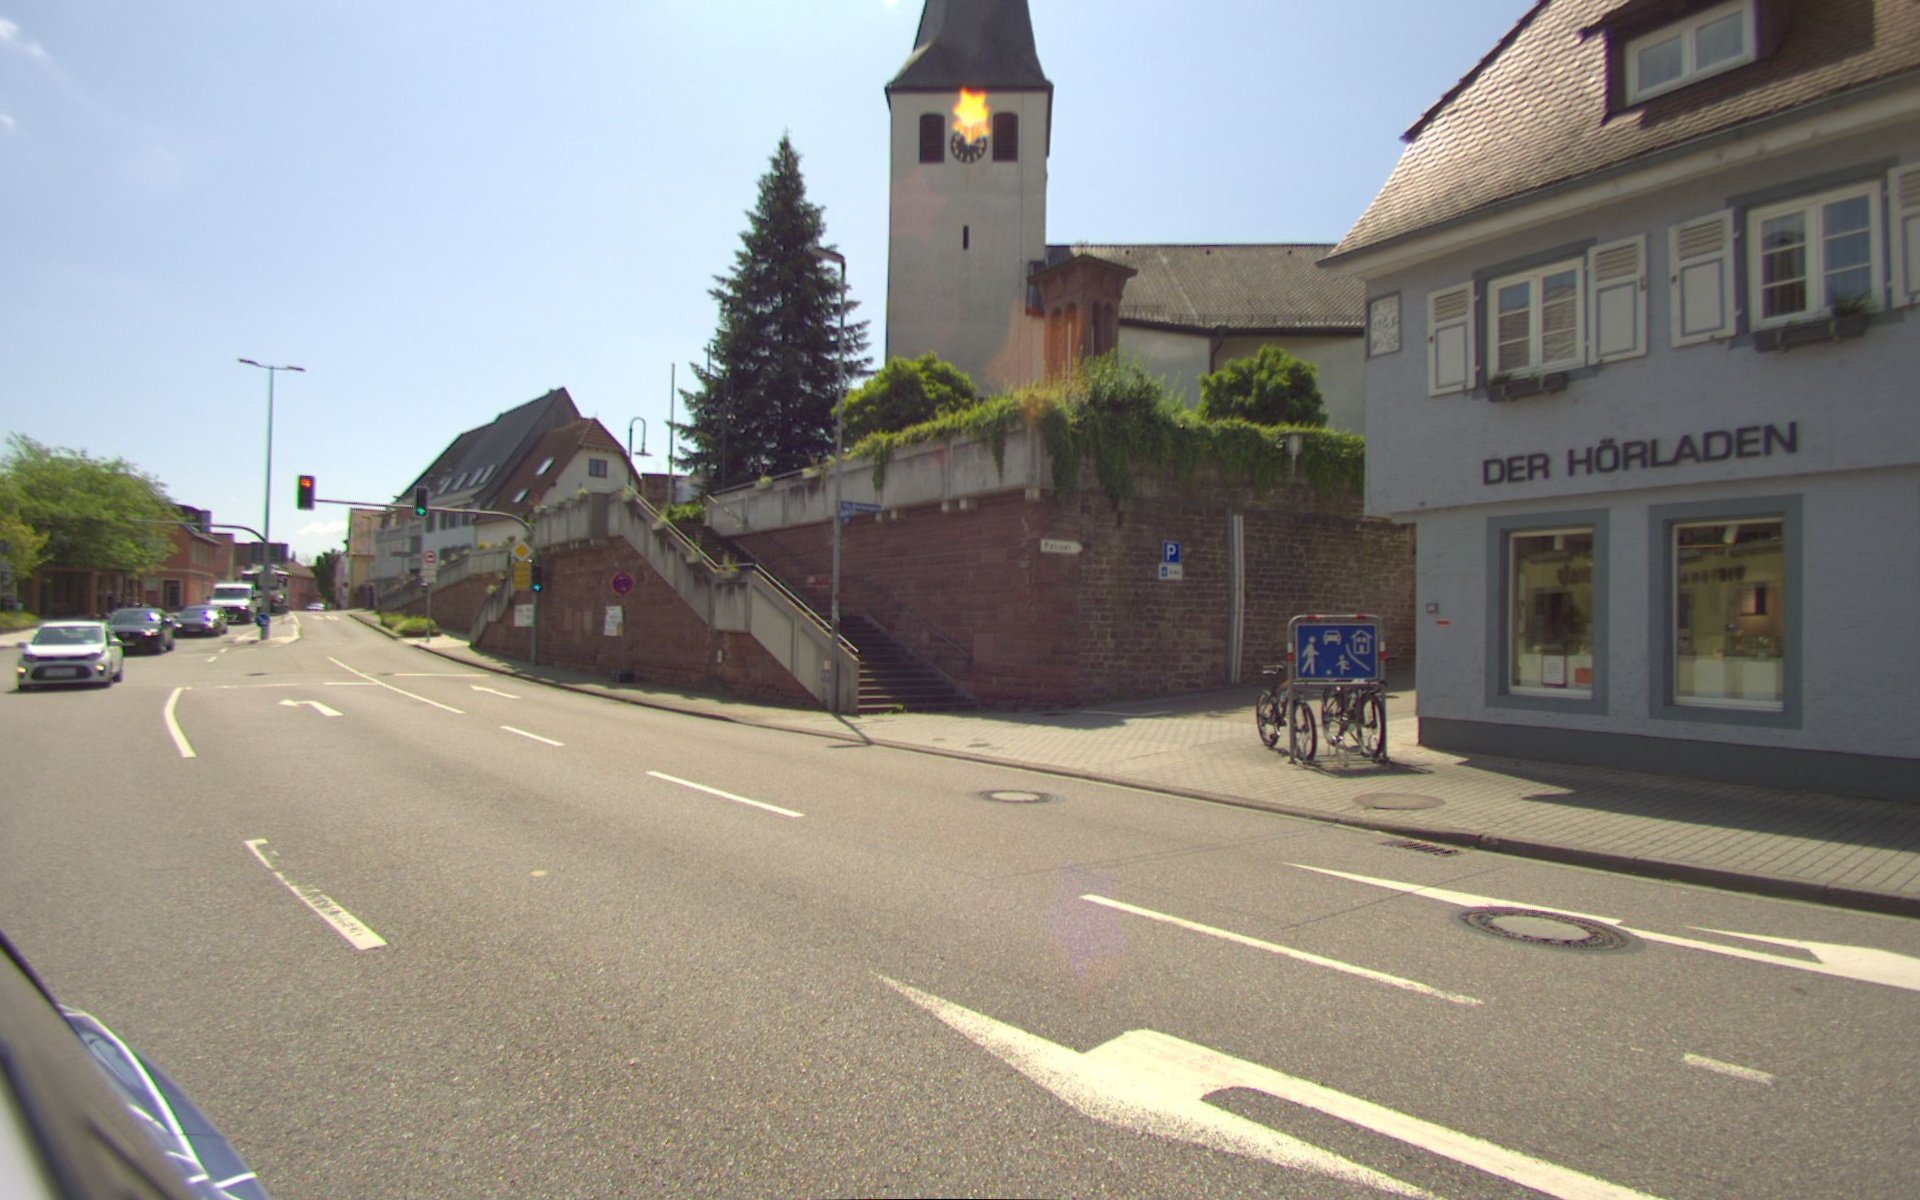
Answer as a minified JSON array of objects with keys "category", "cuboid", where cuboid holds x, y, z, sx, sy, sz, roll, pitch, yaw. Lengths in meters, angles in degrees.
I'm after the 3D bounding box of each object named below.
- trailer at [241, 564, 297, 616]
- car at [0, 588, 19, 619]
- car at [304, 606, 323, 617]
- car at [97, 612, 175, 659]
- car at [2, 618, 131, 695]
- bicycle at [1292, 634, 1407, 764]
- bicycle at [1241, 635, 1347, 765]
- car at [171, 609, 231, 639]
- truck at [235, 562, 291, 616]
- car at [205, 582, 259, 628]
[{"category":"trailer","cuboid":[-52.423,-0.640,77.002,2.791,3.597,10.998,1,-2,-31]},{"category":"car","cuboid":[-56.436,0.210,57.830,3.702,1.723,1.728,-1,0,-37]},{"category":"car","cuboid":[-102.811,1.816,161.029,1.978,1.643,4.592,1,-2,-25]},{"category":"car","cuboid":[-30.181,1.253,37.167,1.696,1.562,4.315,0,0,-32]},{"category":"car","cuboid":[-20.617,1.218,23.514,1.697,1.562,4.314,0,0,-34]},{"category":"bicycle","cuboid":[4.354,1.066,11.445,0.571,1.258,1.830,-3,0,1]},{"category":"bicycle","cuboid":[3.712,1.068,11.397,0.571,1.258,1.830,-3,0,1]},{"category":"car","cuboid":[-36.191,1.114,48.344,1.898,1.376,4.316,0,0,-32]},{"category":"truck","cuboid":[-49.091,-0.695,71.354,2.801,3.597,5.484,1,-2,-31]},{"category":"car","cuboid":[-42.730,0.334,59.465,2.139,2.583,4.838,1,-2,-31]}]
